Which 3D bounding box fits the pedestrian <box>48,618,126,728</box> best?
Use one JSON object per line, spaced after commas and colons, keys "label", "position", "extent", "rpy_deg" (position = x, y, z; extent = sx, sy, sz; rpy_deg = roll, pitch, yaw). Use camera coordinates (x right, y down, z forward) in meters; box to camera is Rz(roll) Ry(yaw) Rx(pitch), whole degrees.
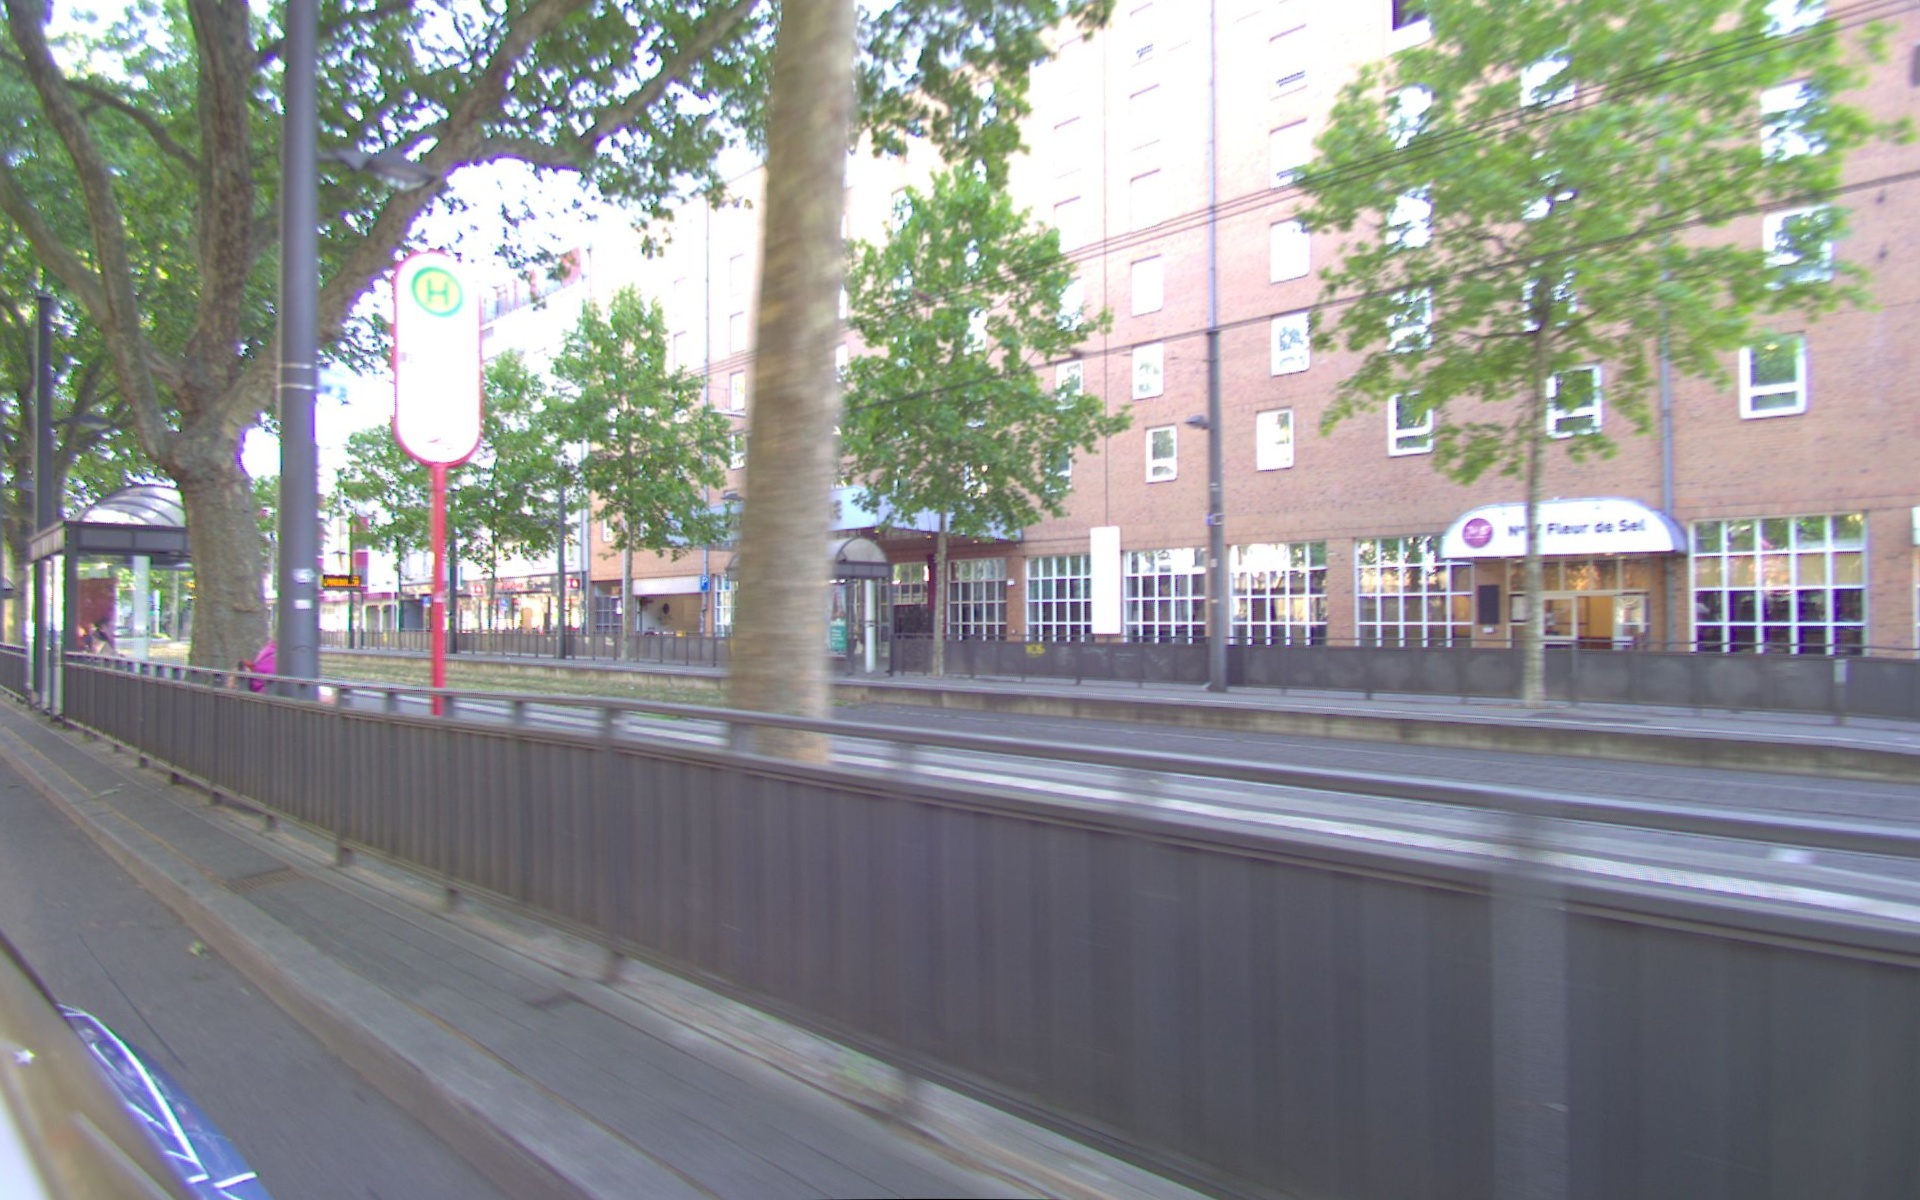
{"label": "pedestrian", "position": [-11.671, 0.954, 13.526], "extent": [0.641, 1.398, 0.726], "rpy_deg": [-1, 0, 44]}

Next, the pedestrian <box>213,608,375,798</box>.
{"label": "pedestrian", "position": [-5.392, 0.785, 8.209], "extent": [0.664, 1.410, 0.966], "rpy_deg": [-1, 0, 44]}
